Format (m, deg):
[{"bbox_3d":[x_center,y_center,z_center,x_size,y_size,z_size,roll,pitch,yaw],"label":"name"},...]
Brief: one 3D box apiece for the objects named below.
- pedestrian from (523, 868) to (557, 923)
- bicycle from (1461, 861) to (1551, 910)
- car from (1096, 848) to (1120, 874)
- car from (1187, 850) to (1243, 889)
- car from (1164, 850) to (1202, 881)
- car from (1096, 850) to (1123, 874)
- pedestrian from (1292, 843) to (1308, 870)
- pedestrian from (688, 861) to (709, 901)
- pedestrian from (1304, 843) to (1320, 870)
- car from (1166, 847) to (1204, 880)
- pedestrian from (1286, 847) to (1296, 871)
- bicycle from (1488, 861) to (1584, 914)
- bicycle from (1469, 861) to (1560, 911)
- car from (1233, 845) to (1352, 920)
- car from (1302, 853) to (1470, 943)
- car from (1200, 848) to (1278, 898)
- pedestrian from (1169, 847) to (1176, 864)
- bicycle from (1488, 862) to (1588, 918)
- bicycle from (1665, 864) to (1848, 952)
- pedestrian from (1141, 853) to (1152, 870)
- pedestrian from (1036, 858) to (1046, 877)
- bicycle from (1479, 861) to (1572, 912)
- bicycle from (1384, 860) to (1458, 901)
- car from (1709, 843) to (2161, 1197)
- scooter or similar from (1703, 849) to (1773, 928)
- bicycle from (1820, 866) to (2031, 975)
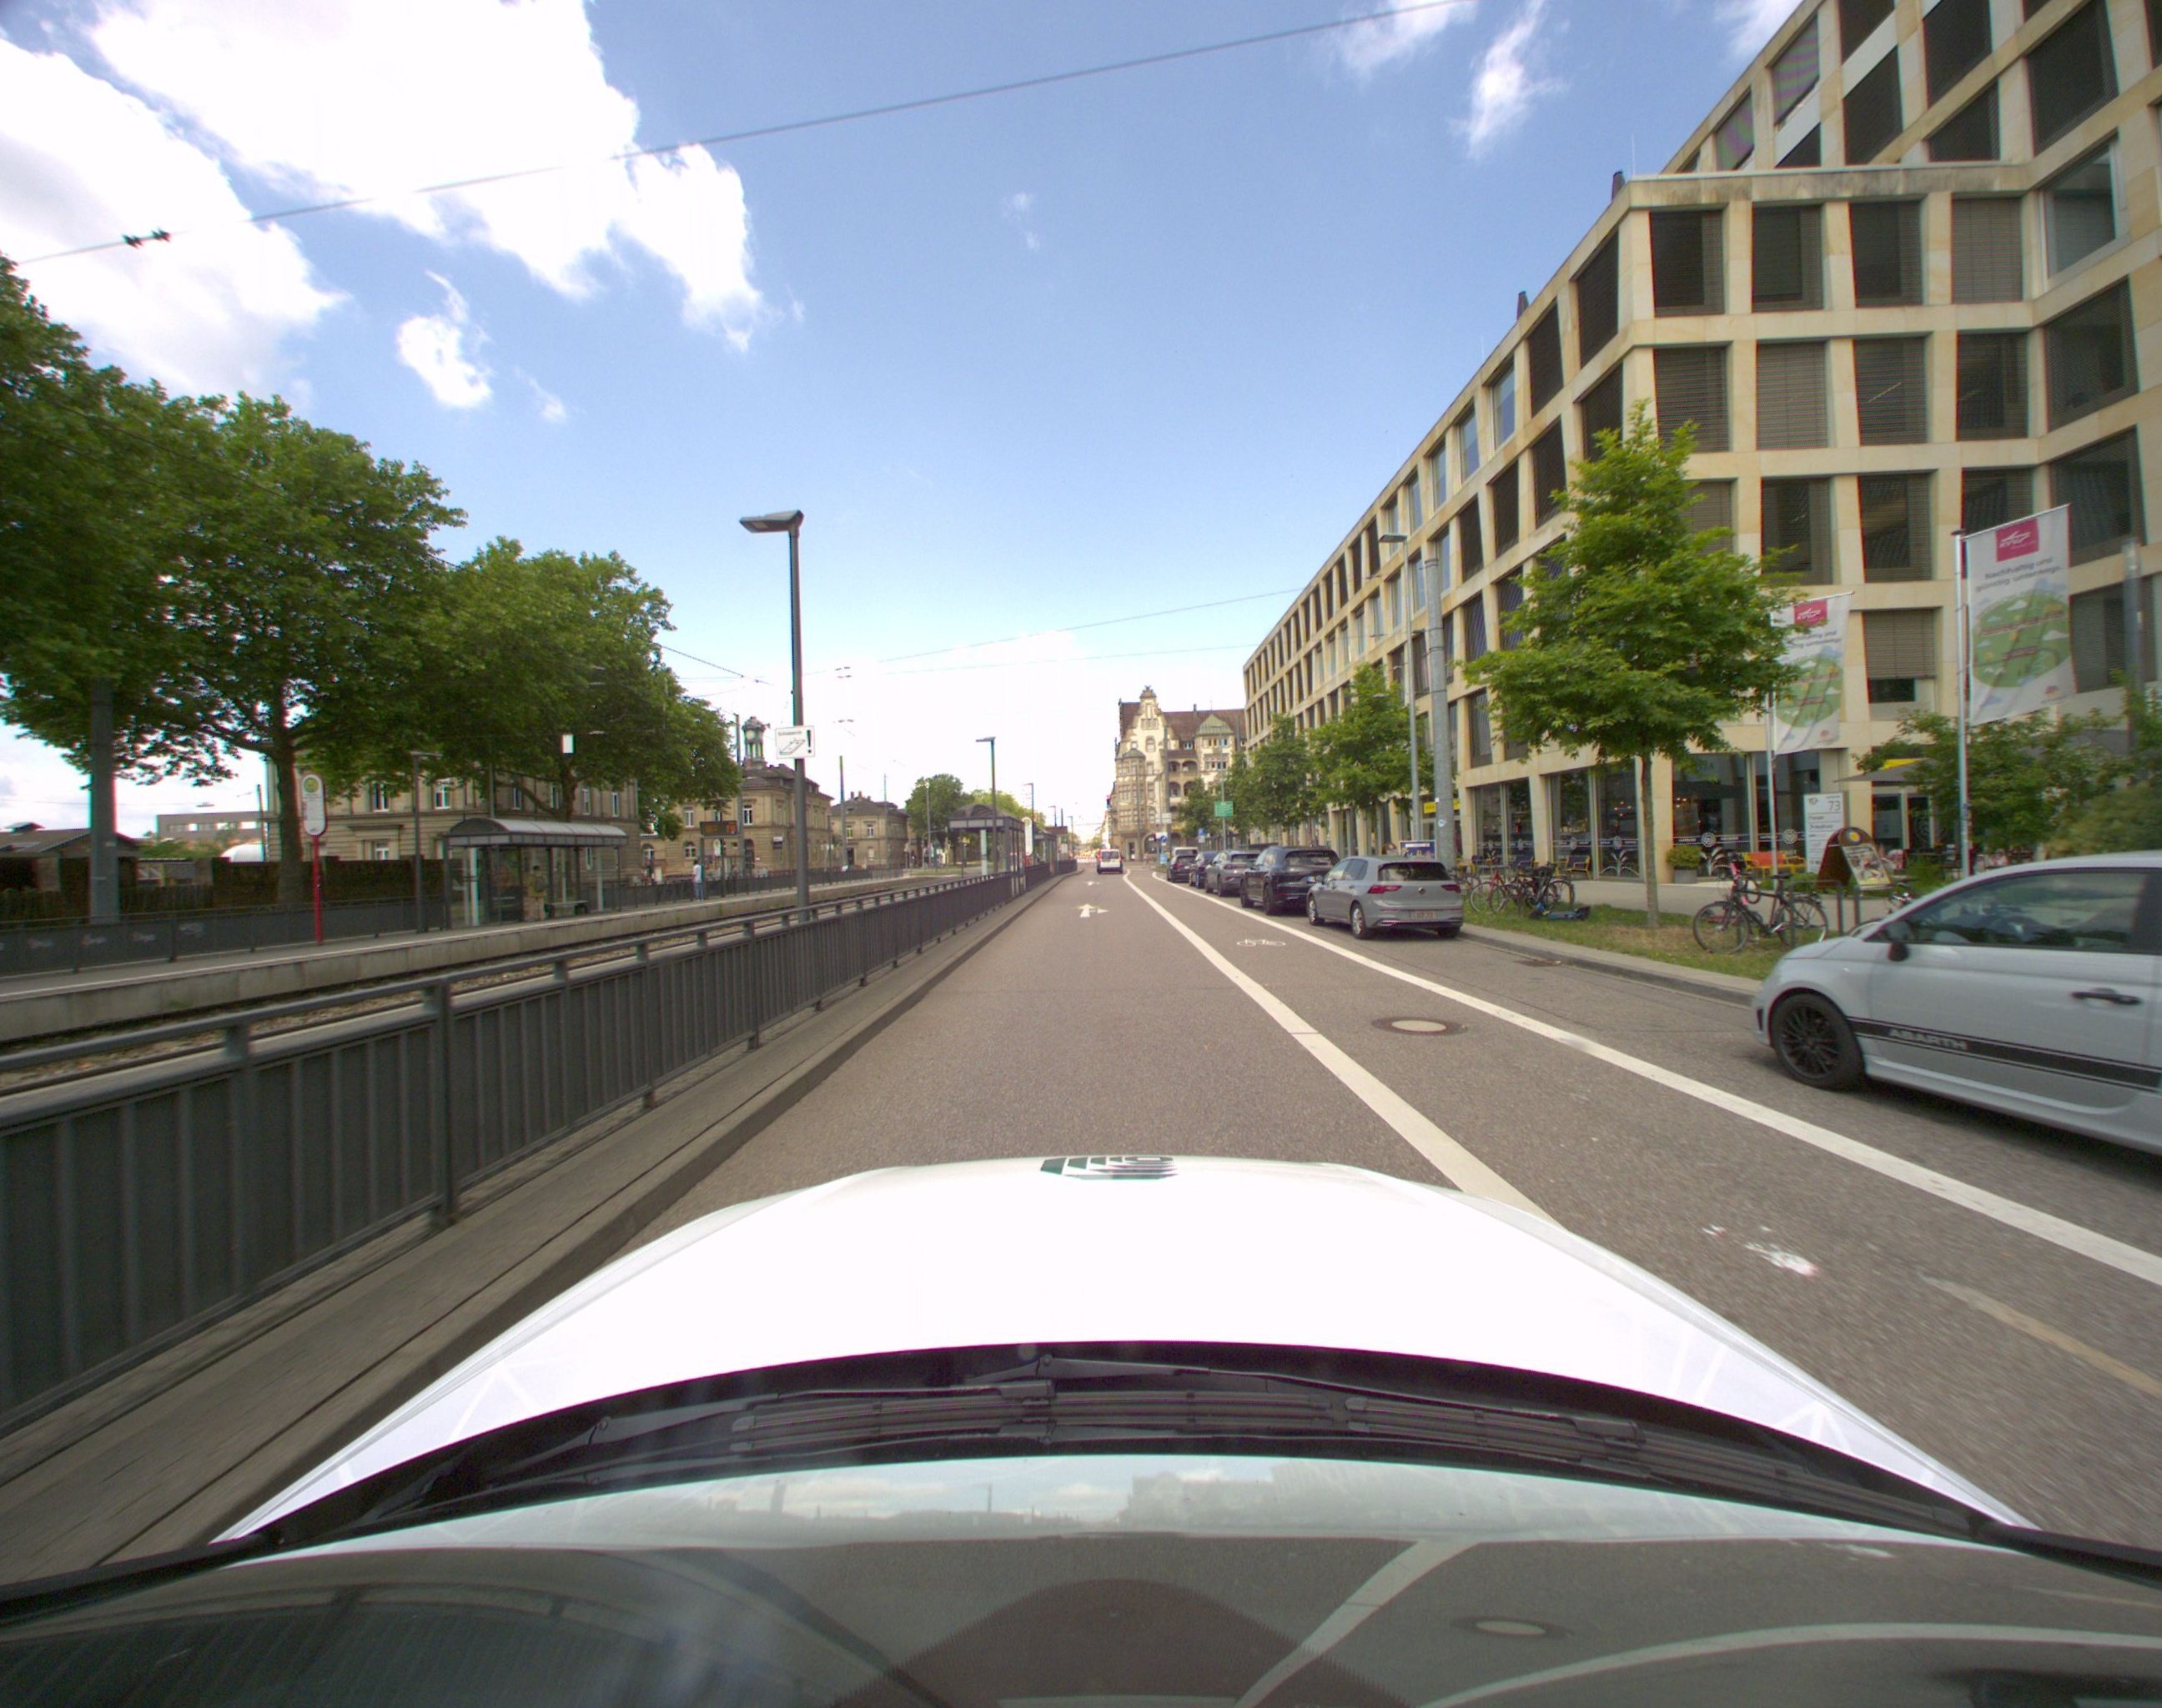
[{"bbox_3d":[-15.824,1.200,23.810,0.498,1.558,0.643,-2,0,1],"label":"pedestrian"},{"bbox_3d":[9.306,0.683,17.844,1.747,0.986,0.326,-3,0,0],"label":"bicycle"},{"bbox_3d":[2.187,0.581,66.784,1.862,2.020,4.000,-1,0,1],"label":"car"},{"bbox_3d":[5.812,0.647,35.751,1.801,1.591,4.305,0,0,0],"label":"car"},{"bbox_3d":[5.199,0.558,41.871,1.439,1.470,4.091,0,0,-1],"label":"car"},{"bbox_3d":[2.103,0.567,60.491,1.862,1.746,4.000,-1,0,1],"label":"car"},{"bbox_3d":[13.836,0.159,51.480,0.757,1.723,0.659,-2,0,0],"label":"pedestrian"},{"bbox_3d":[-16.387,1.154,34.890,0.498,1.683,0.643,-2,0,1],"label":"pedestrian"},{"bbox_3d":[14.605,0.164,51.482,0.757,1.670,0.659,-2,0,0],"label":"pedestrian"},{"bbox_3d":[5.935,0.529,46.821,1.704,1.796,3.360,0,0,-1],"label":"car"},{"bbox_3d":[13.238,0.311,51.402,0.437,1.448,0.434,-2,0,0],"label":"pedestrian"},{"bbox_3d":[9.376,0.677,16.794,1.747,0.986,0.326,-3,0,0],"label":"bicycle"},{"bbox_3d":[9.302,0.682,17.496,1.747,0.986,0.326,-3,0,0],"label":"bicycle"},{"bbox_3d":[5.253,0.633,20.883,1.733,1.669,4.839,0,0,-1],"label":"car"},{"bbox_3d":[5.501,0.709,15.259,1.586,1.434,4.106,0,0,-1],"label":"car"},{"bbox_3d":[5.548,0.611,29.124,1.801,1.591,4.839,0,0,-1],"label":"car"},{"bbox_3d":[8.948,0.145,79.455,0.532,1.572,0.542,-4,0,-1],"label":"pedestrian"},{"bbox_3d":[8.982,0.703,16.026,1.747,0.986,0.326,-3,0,0],"label":"bicycle"},{"bbox_3d":[9.078,0.715,11.003,1.815,1.076,0.687,-2,0,4],"label":"bicycle"},{"bbox_3d":[6.236,0.703,77.812,0.807,1.572,0.625,-4,0,-16],"label":"pedestrian"},{"bbox_3d":[-2.440,0.821,50.028,0.511,1.140,0.501,-4,0,1],"label":"pedestrian"},{"bbox_3d":[9.346,0.679,17.136,1.747,0.986,0.326,-3,0,0],"label":"bicycle"},{"bbox_3d":[9.453,0.734,22.652,1.815,1.030,0.433,-2,0,4],"label":"bicycle"},{"bbox_3d":[5.340,0.688,4.157,1.585,1.460,3.615,-1,0,2],"label":"car"},{"bbox_3d":[10.530,0.530,13.083,0.257,1.215,1.015,-2,0,1],"label":"scooter or similar"},{"bbox_3d":[9.009,0.705,8.717,1.815,1.076,0.275,-2,0,4],"label":"bicycle"}]
